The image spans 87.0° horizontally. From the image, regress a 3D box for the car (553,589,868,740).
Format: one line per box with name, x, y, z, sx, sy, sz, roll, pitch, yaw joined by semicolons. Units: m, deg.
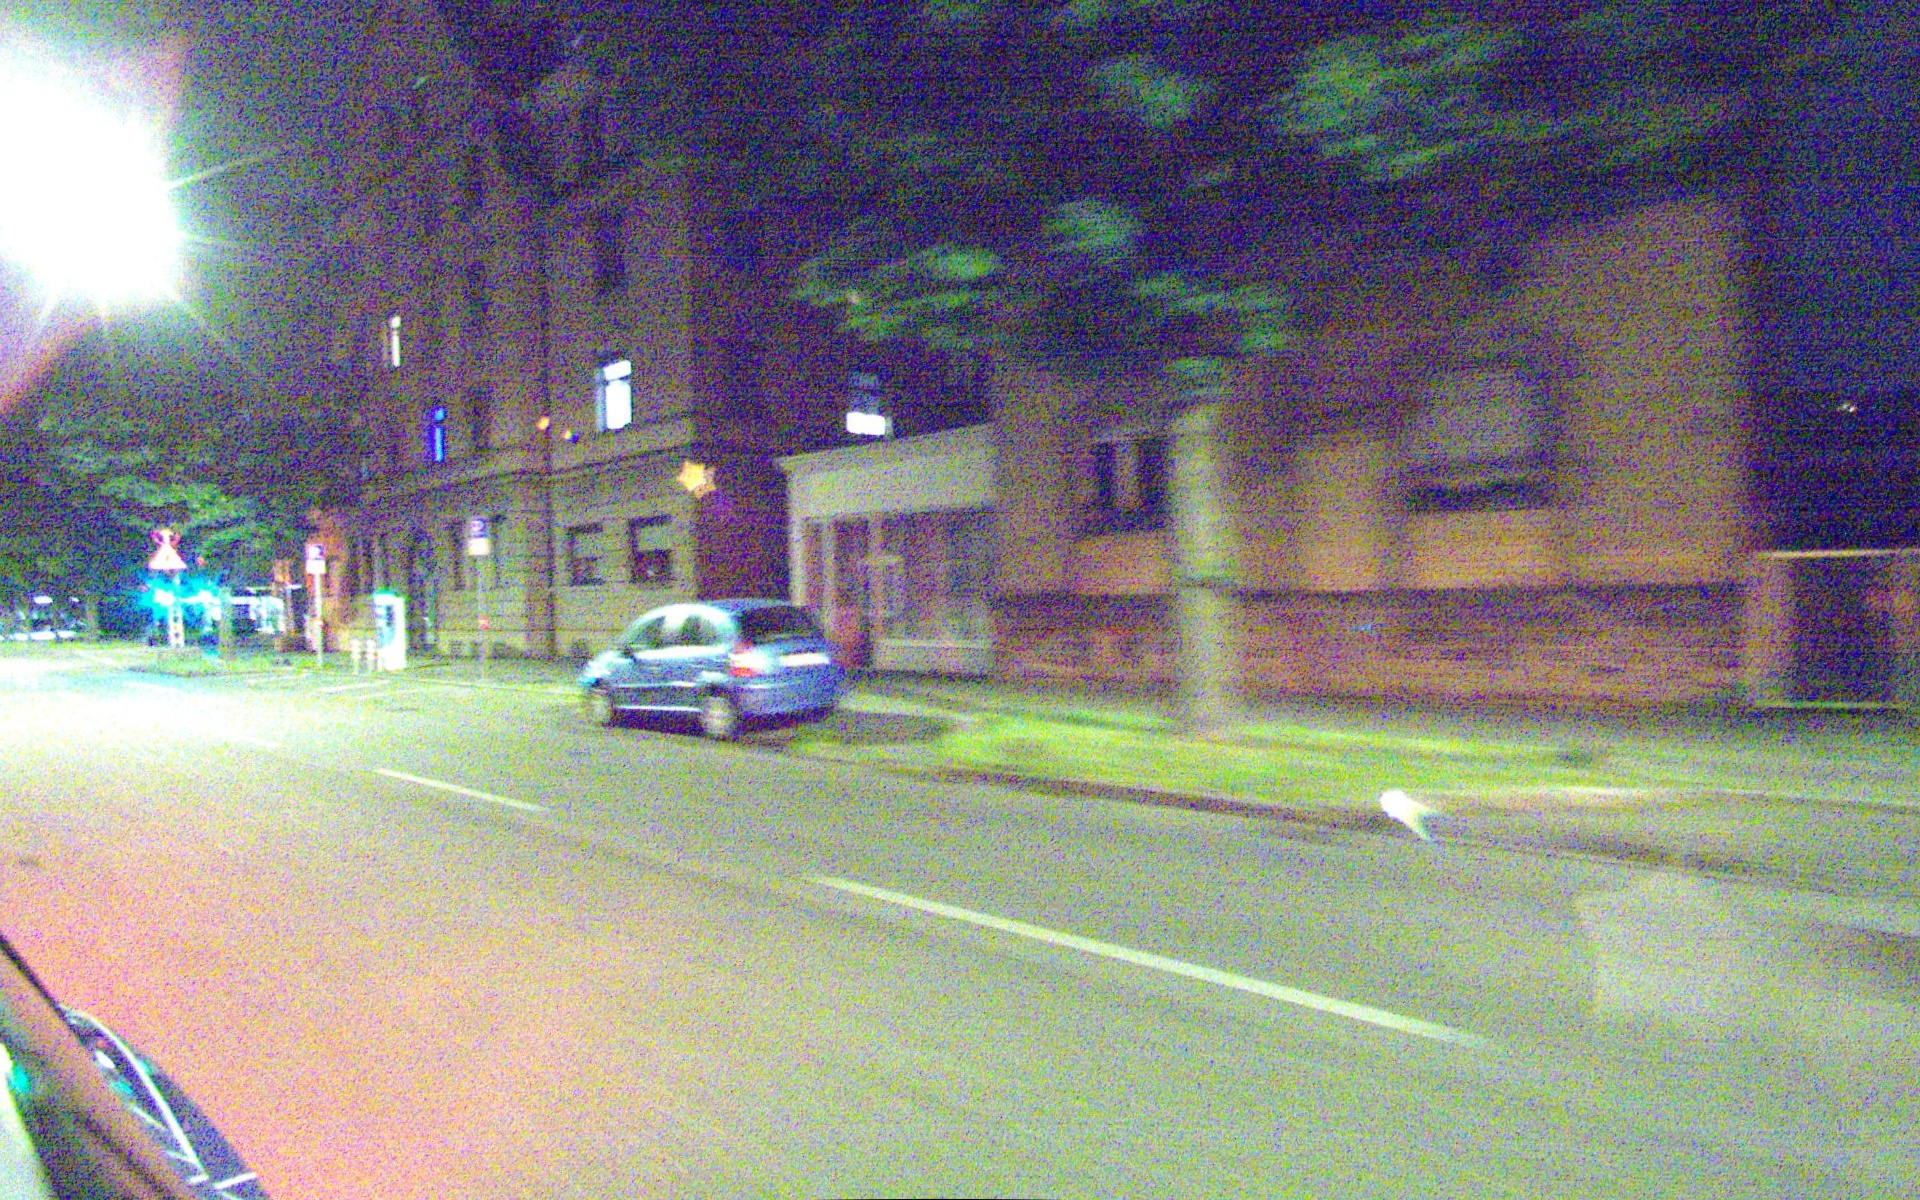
car;-3.134;0.704;12.296;3.987;1.505;1.696;-2;0;41
